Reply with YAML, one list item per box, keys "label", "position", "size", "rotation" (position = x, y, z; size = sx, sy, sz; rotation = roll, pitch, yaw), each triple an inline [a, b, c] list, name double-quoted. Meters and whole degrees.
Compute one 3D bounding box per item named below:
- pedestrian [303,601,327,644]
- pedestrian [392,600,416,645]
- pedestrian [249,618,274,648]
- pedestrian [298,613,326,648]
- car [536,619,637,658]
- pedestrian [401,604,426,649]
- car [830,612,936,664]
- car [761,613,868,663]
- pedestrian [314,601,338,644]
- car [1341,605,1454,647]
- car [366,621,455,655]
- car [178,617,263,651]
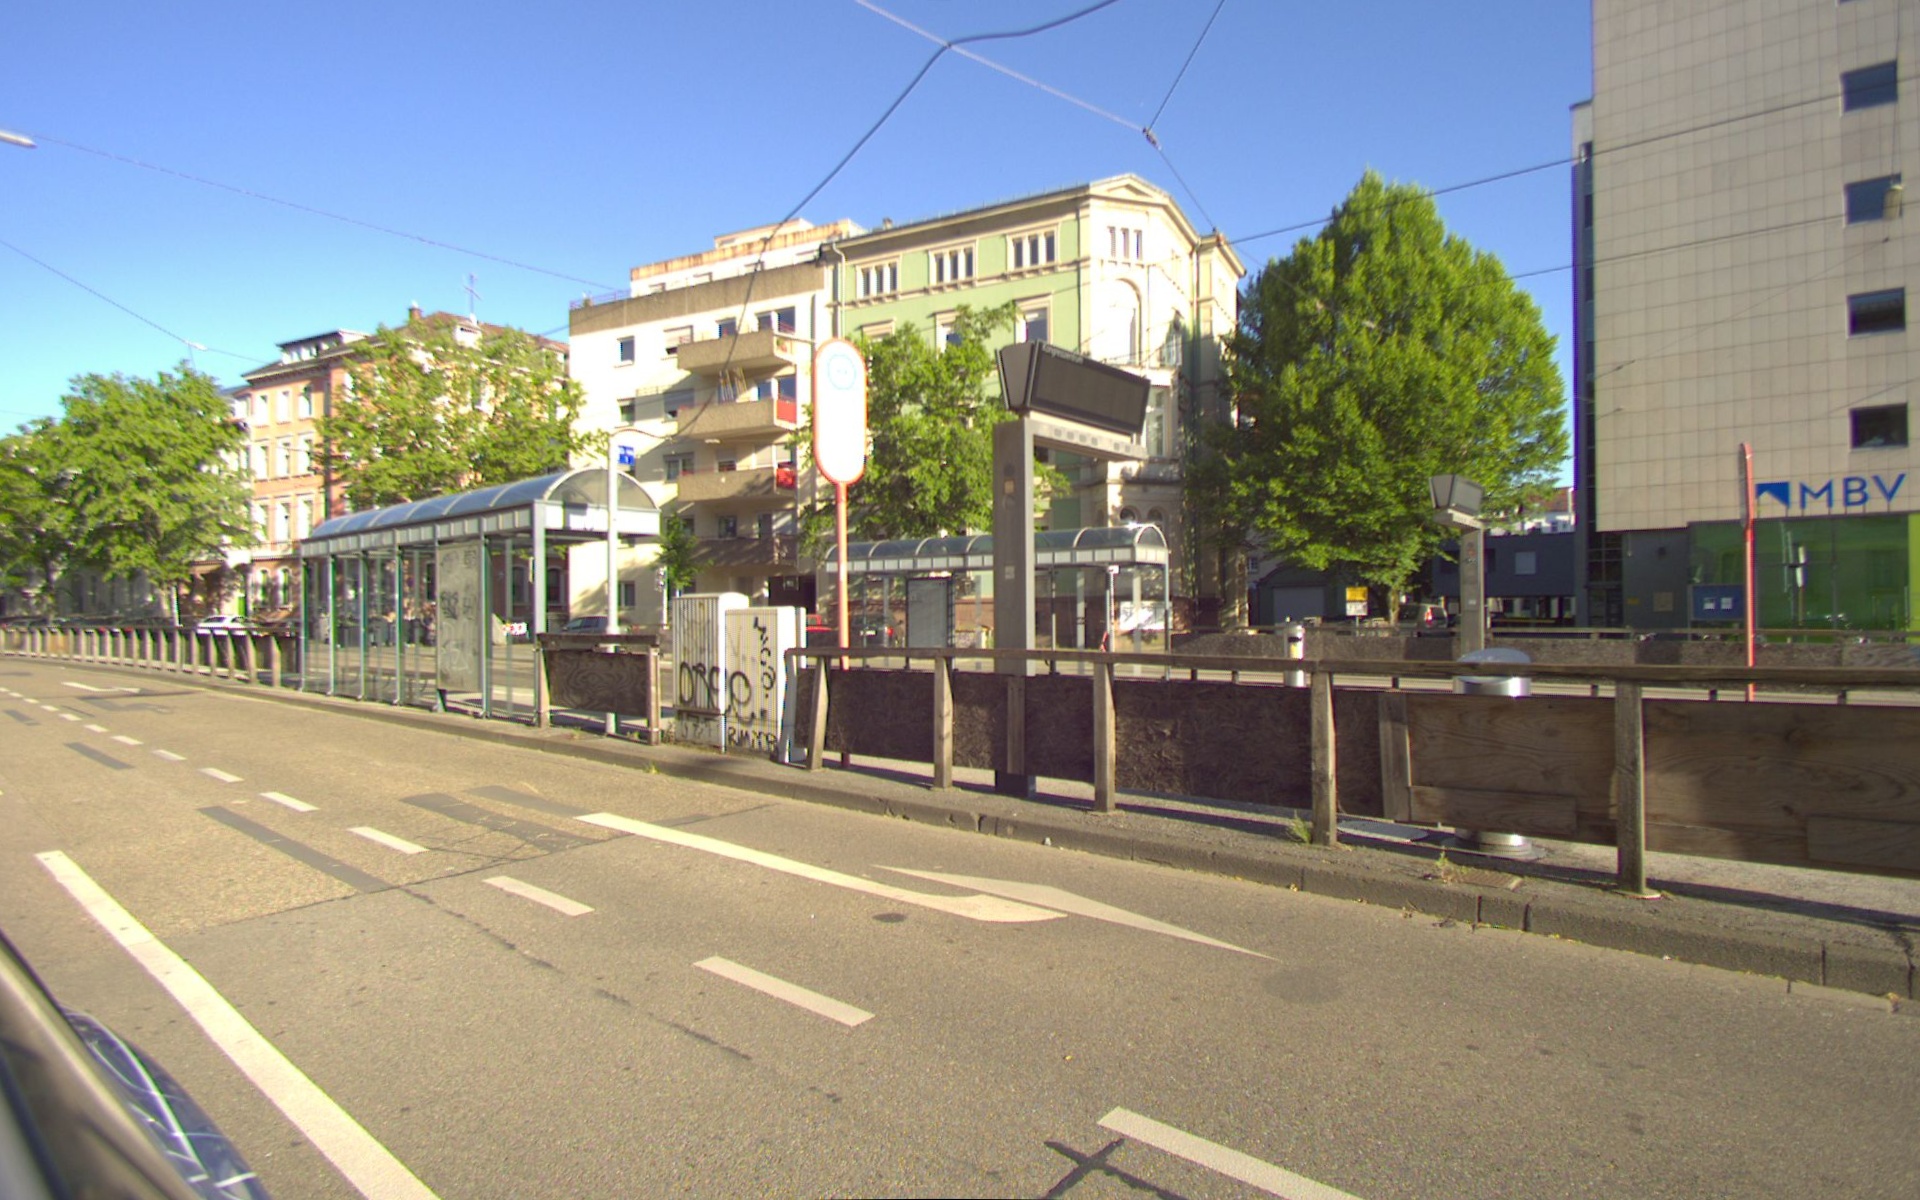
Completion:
- label: "pedestrian"
  position: [-34.277, 1.195, 53.780]
  size: [0.755, 2.224, 0.803]
  rotation: [-1, -2, 36]
- label: "pedestrian"
  position: [-27.876, 1.111, 50.754]
  size: [0.753, 2.224, 0.804]
  rotation: [-1, -2, 30]
- label: "pedestrian"
  position: [-39.582, 1.870, 57.366]
  size: [0.887, 1.641, 0.861]
  rotation: [-1, -2, 25]
- label: "pedestrian"
  position: [-32.146, 1.523, 50.205]
  size: [1.016, 1.733, 0.846]
  rotation: [-1, -2, 32]
- label: "car"
  position: [-14.292, 1.451, 38.674]
  size: [3.725, 1.438, 1.637]
  rotation: [-1, -1, 29]
- label: "pedestrian"
  position: [-27.100, 1.296, 50.227]
  size: [0.753, 2.224, 0.804]
  rotation: [-1, -2, 30]
- label: "car"
  position: [-2.476, 1.228, 33.521]
  size: [1.754, 1.594, 3.965]
  rotation: [-1, -1, 26]
- label: "car"
  position: [-4.898, 1.260, 34.573]
  size: [1.754, 1.594, 3.965]
  rotation: [-1, -1, 26]
- label: "pedestrian"
  position: [-33.041, 1.179, 52.721]
  size: [0.753, 2.224, 0.804]
  rotation: [-1, -2, 30]
- label: "car"
  position: [15.719, 0.896, 36.473]
  size: [1.544, 1.423, 3.430]
  rotation: [-1, 0, -38]
- label: "car"
  position: [-23.724, 1.600, 43.670]
  size: [3.986, 1.407, 1.592]
  rotation: [-1, -2, 32]
- label: "car"
  position: [-39.572, 1.792, 54.284]
  size: [1.825, 1.721, 4.130]
  rotation: [0, -1, -5]
